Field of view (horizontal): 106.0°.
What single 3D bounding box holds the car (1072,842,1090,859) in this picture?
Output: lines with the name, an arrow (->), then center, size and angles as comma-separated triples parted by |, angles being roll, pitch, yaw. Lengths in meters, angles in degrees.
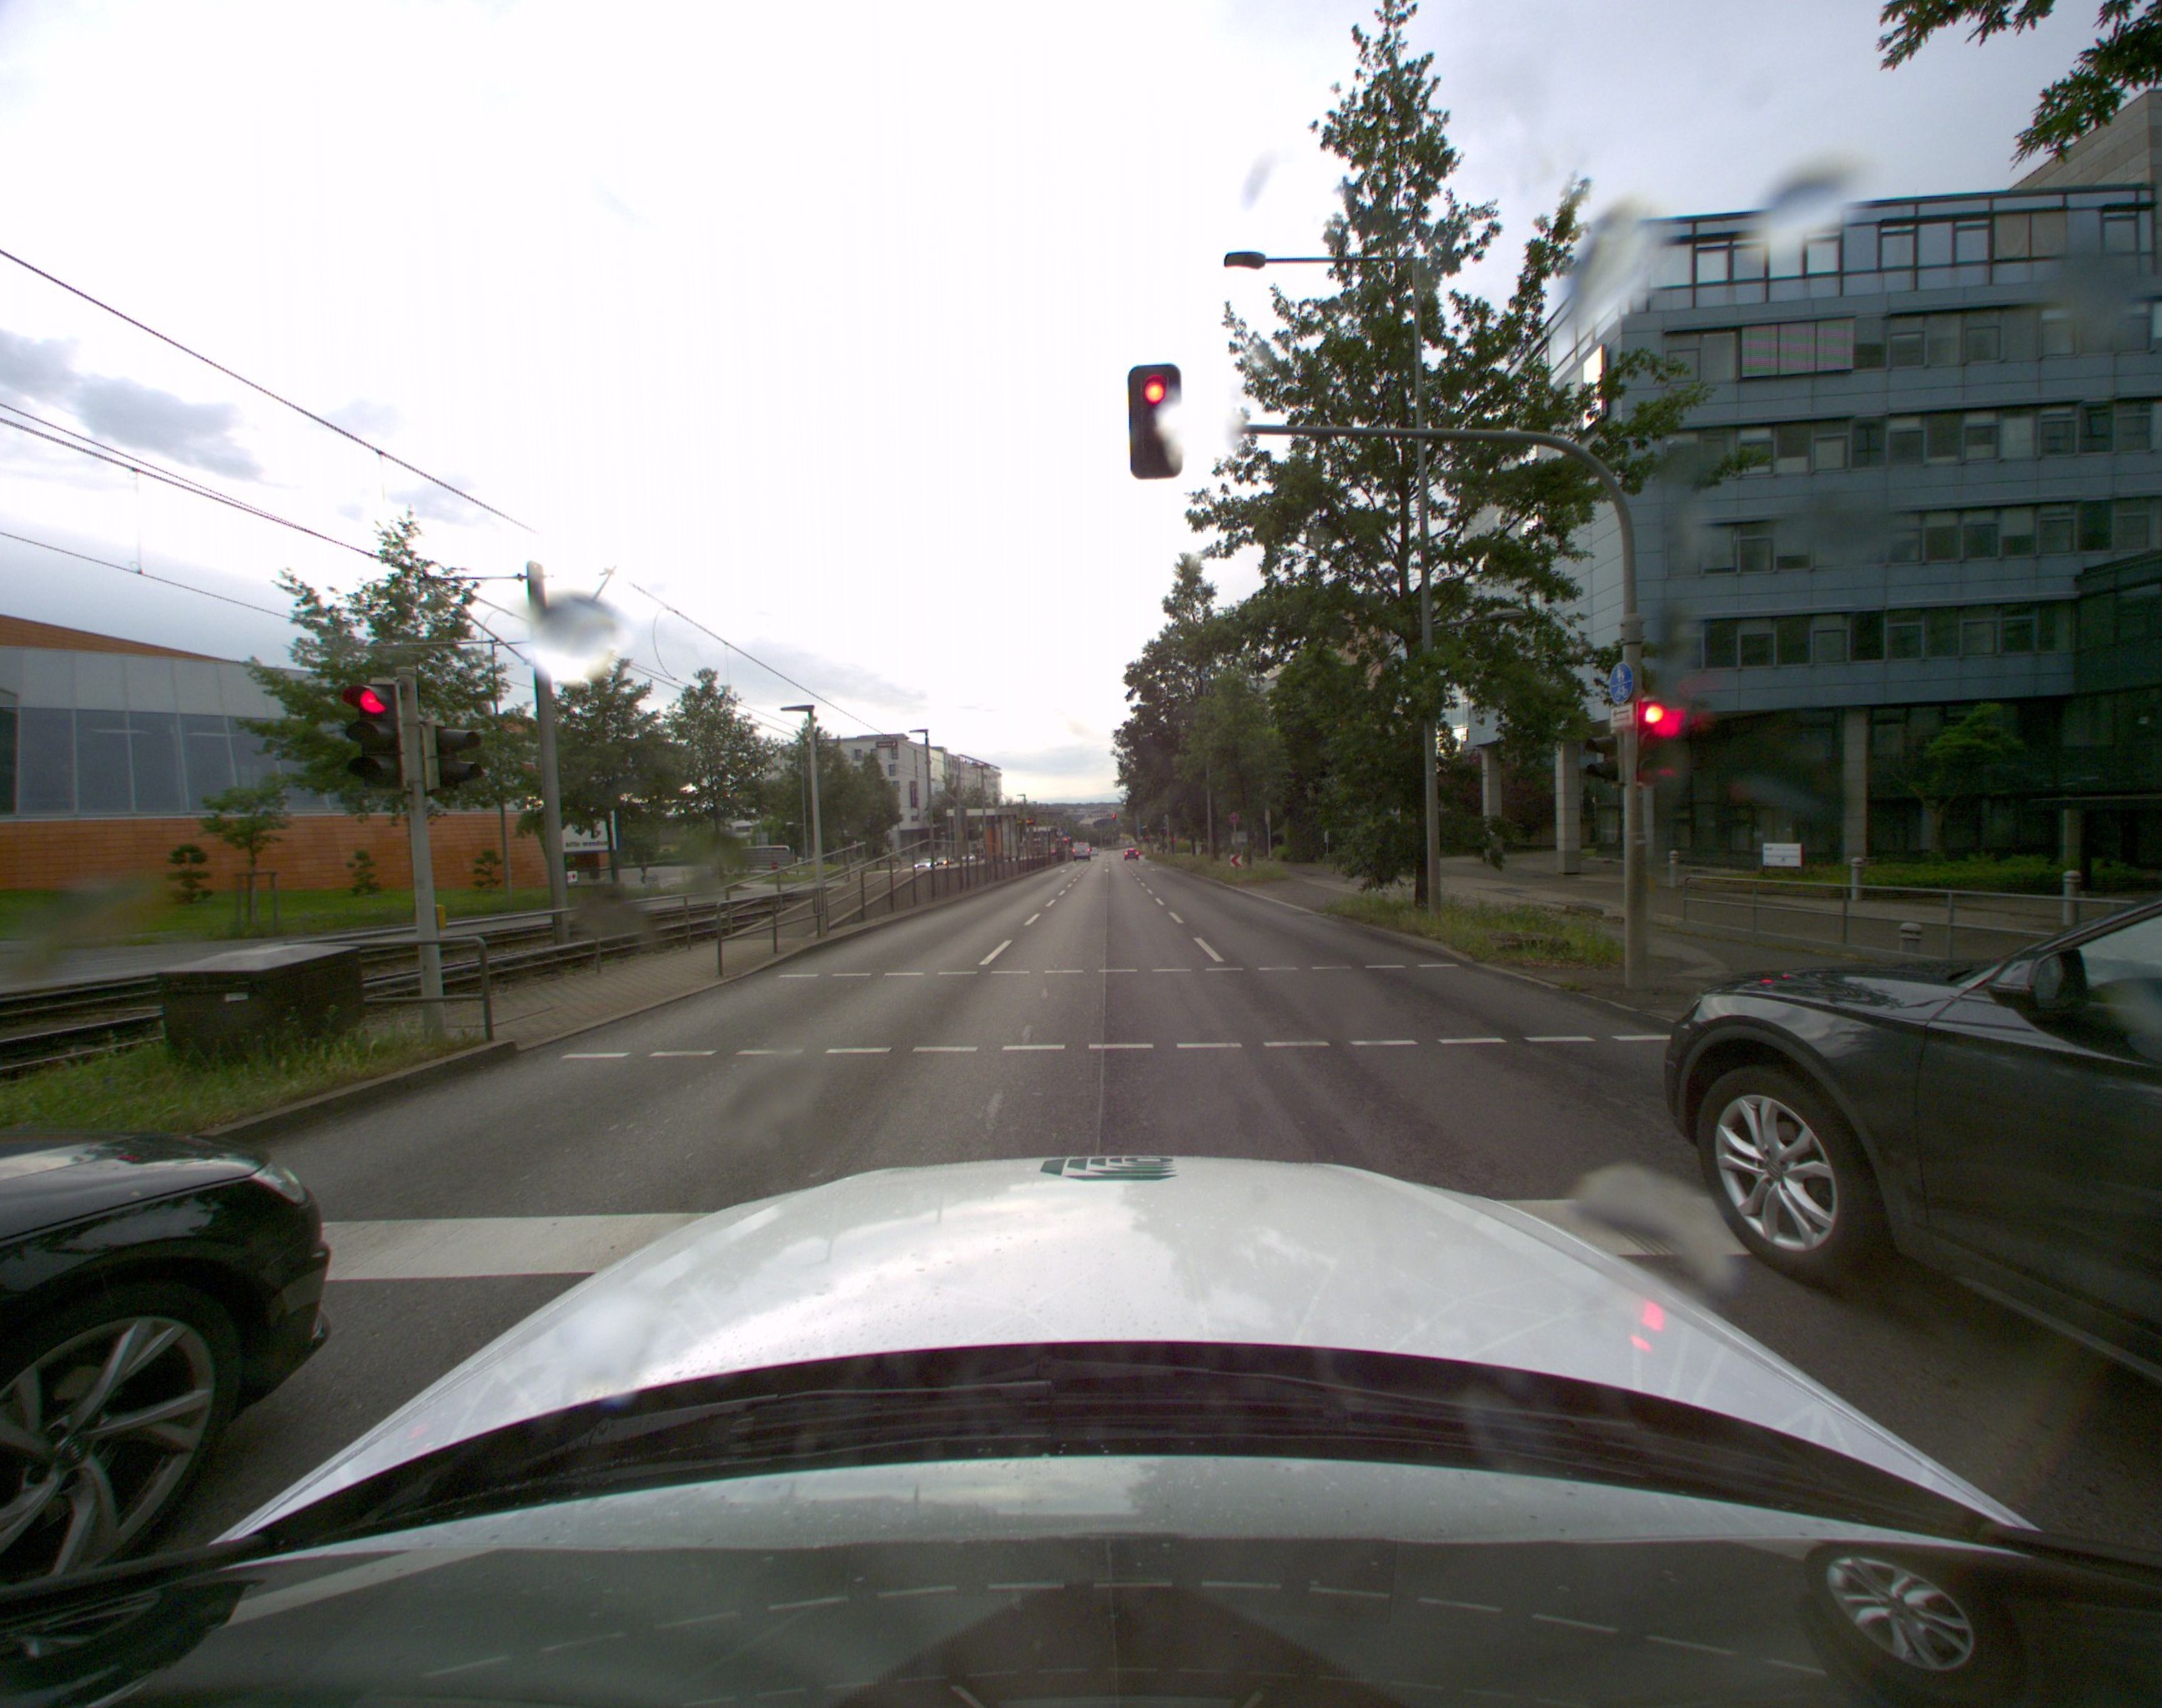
car -> -0.016, -0.445, 102.649 | 2.085, 2.053, 4.608 | -1, 0, 2

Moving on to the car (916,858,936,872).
car -> -17.800, 1.207, 93.726 | 1.646, 1.436, 3.877 | -4, 0, -2

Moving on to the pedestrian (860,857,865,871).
pedestrian -> -29.902, 1.353, 111.391 | 0.473, 1.920, 0.490 | -1, 0, 1

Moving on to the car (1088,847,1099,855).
car -> 2.350, -0.507, 149.903 | 1.775, 1.390, 4.004 | -2, 0, 3

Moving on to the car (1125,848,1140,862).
car -> 6.479, 0.133, 102.829 | 1.767, 1.691, 3.847 | -1, 0, 2

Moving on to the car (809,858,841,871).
car -> -30.434, 1.228, 96.882 | 3.341, 1.387, 1.440 | -1, 0, 18

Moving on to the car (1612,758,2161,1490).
car -> 3.264, 0.579, 1.442 | 1.811, 1.612, 4.472 | -1, 0, 2

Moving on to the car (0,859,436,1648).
car -> -2.962, 0.777, 0.274 | 1.774, 1.466, 4.515 | -1, 0, 2

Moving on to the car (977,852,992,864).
car -> -12.621, 0.547, 106.287 | 1.651, 1.436, 3.865 | -4, 0, -11

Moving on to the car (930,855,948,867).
car -> -17.863, 0.890, 102.671 | 1.562, 1.378, 3.518 | -2, 0, 0
